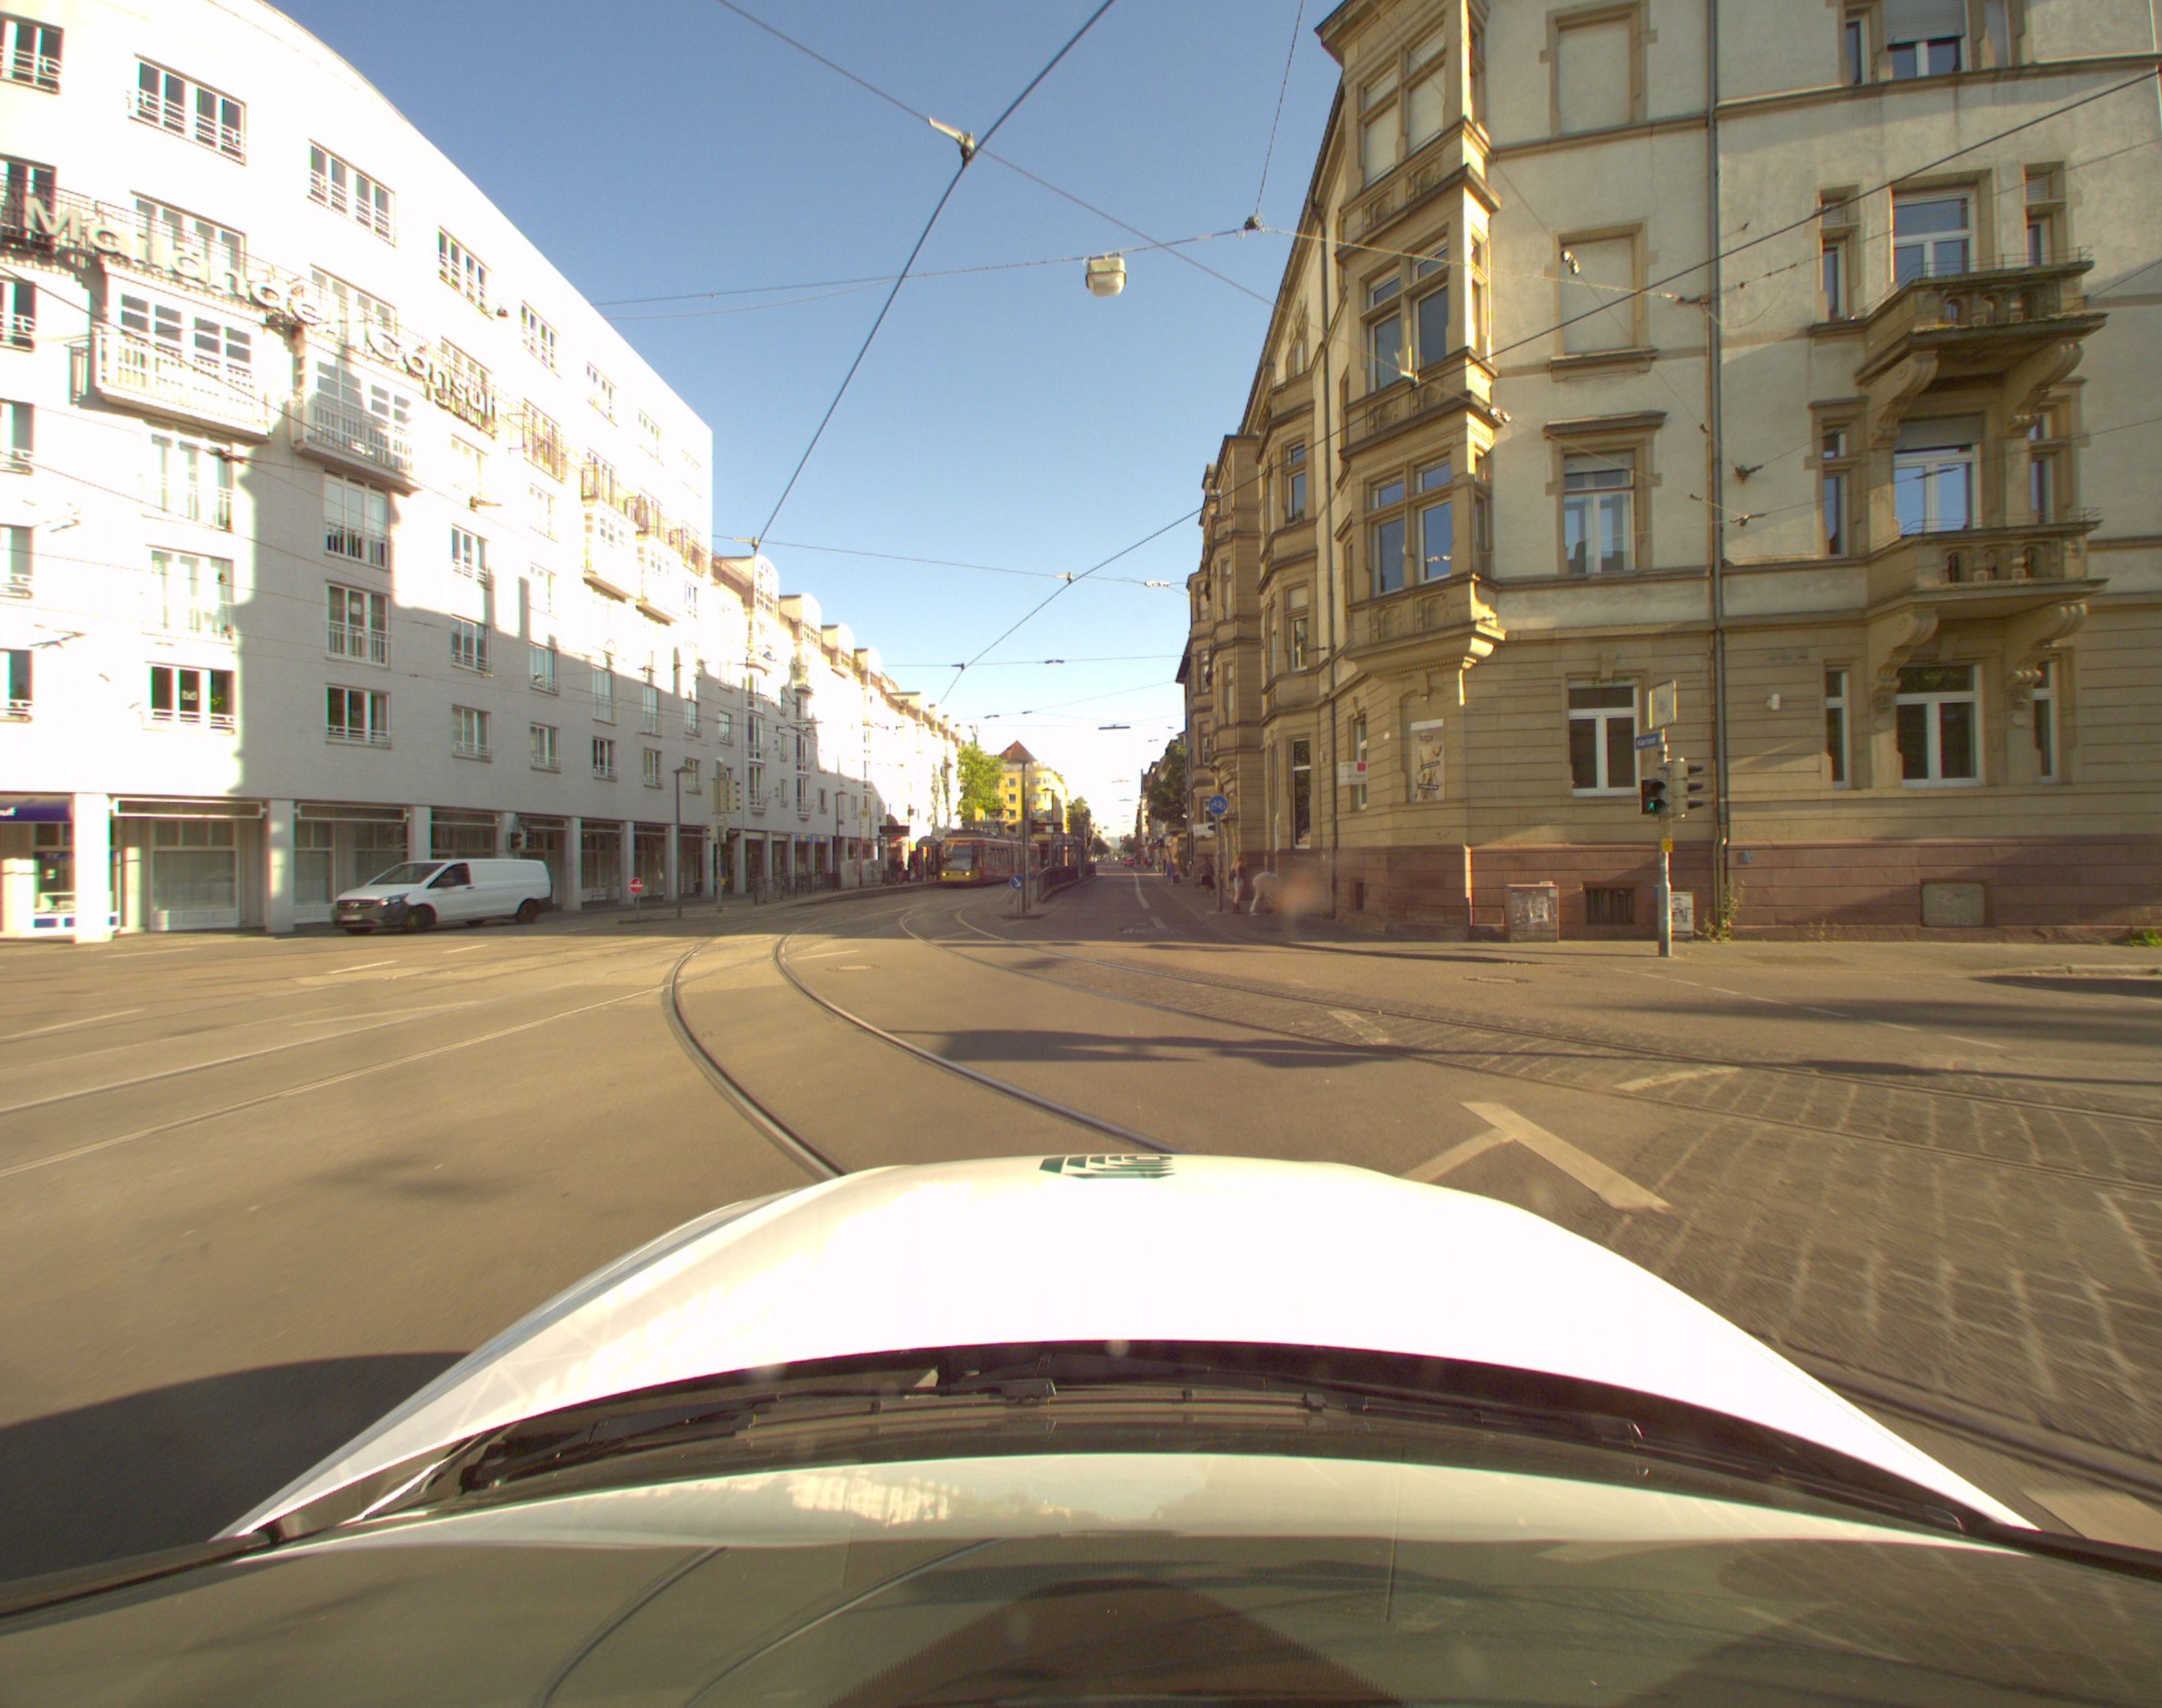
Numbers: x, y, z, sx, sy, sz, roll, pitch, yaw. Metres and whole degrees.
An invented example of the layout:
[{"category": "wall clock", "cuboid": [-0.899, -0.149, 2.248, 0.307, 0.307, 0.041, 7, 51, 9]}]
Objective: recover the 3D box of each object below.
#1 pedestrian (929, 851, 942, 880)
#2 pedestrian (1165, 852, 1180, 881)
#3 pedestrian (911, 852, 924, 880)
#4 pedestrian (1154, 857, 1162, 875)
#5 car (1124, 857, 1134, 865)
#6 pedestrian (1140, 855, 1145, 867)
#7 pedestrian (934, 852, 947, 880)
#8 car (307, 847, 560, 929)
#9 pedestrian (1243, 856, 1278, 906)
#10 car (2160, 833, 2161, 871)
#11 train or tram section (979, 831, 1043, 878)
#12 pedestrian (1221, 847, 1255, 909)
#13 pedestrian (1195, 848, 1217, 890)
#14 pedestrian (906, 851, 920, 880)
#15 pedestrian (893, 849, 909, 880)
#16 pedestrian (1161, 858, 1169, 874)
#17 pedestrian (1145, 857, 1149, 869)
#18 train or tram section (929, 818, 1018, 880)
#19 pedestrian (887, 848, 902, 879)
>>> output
[{"category": "pedestrian", "cuboid": [-9.696, 0.772, 54.325, 0.693, 1.905, 0.672, 0, -3, 0]}, {"category": "pedestrian", "cuboid": [5.258, 0.728, 46.936, 0.759, 1.645, 0.833, -2, -2, 2]}, {"category": "pedestrian", "cuboid": [-10.136, 0.767, 50.448, 0.698, 1.691, 0.667, 1, -3, -21]}, {"category": "pedestrian", "cuboid": [7.733, 1.167, 81.913, 0.711, 1.775, 0.773, -3, -1, 0]}, {"category": "car", "cuboid": [9.427, 1.453, 160.545, 1.985, 1.449, 4.002, 1, -2, 3]}, {"category": "pedestrian", "cuboid": [10.494, 1.197, 139.475, 0.840, 1.918, 0.661, 0, -2, 1]}, {"category": "pedestrian", "cuboid": [-9.461, 0.804, 54.918, 0.693, 1.905, 0.672, 0, -3, 0]}, {"category": "car", "cuboid": [-16.872, 0.883, 21.719, 1.982, 1.838, 5.357, -3, -2, 8]}, {"category": "pedestrian", "cuboid": [4.907, 0.737, 22.316, 0.791, 1.332, 0.719, -1, -3, 1]}, {"category": "car", "cuboid": [15.738, 0.494, 9.076, 4.231, 1.632, 1.950, -1, -2, 11]}, {"category": "train or tram section", "cuboid": [-5.568, 0.222, 68.176, 2.872, 3.490, 14.966, -1, -1, 4]}, {"category": "pedestrian", "cuboid": [4.446, 0.694, 23.097, 0.791, 1.722, 0.719, -1, -3, 1]}, {"category": "pedestrian", "cuboid": [5.487, 0.649, 35.795, 0.797, 1.824, 0.798, -2, -2, 2]}, {"category": "pedestrian", "cuboid": [-10.060, 0.698, 48.675, 0.698, 1.691, 0.667, 1, -3, -21]}, {"category": "pedestrian", "cuboid": [-10.253, 0.602, 46.416, 0.756, 1.733, 0.523, -2, -4, 44]}, {"category": "pedestrian", "cuboid": [8.472, 1.193, 82.169, 0.711, 1.603, 0.773, -3, -1, 0]}, {"category": "pedestrian", "cuboid": [9.794, 1.347, 120.698, 0.556, 1.797, 0.652, 0, -2, 10]}, {"category": "train or tram section", "cuboid": [-6.698, -0.103, 53.694, 2.872, 3.490, 14.183, -1, -1, 4]}, {"category": "pedestrian", "cuboid": [-10.181, 0.524, 44.417, 0.596, 1.692, 0.614, 0, -3, 3]}]
